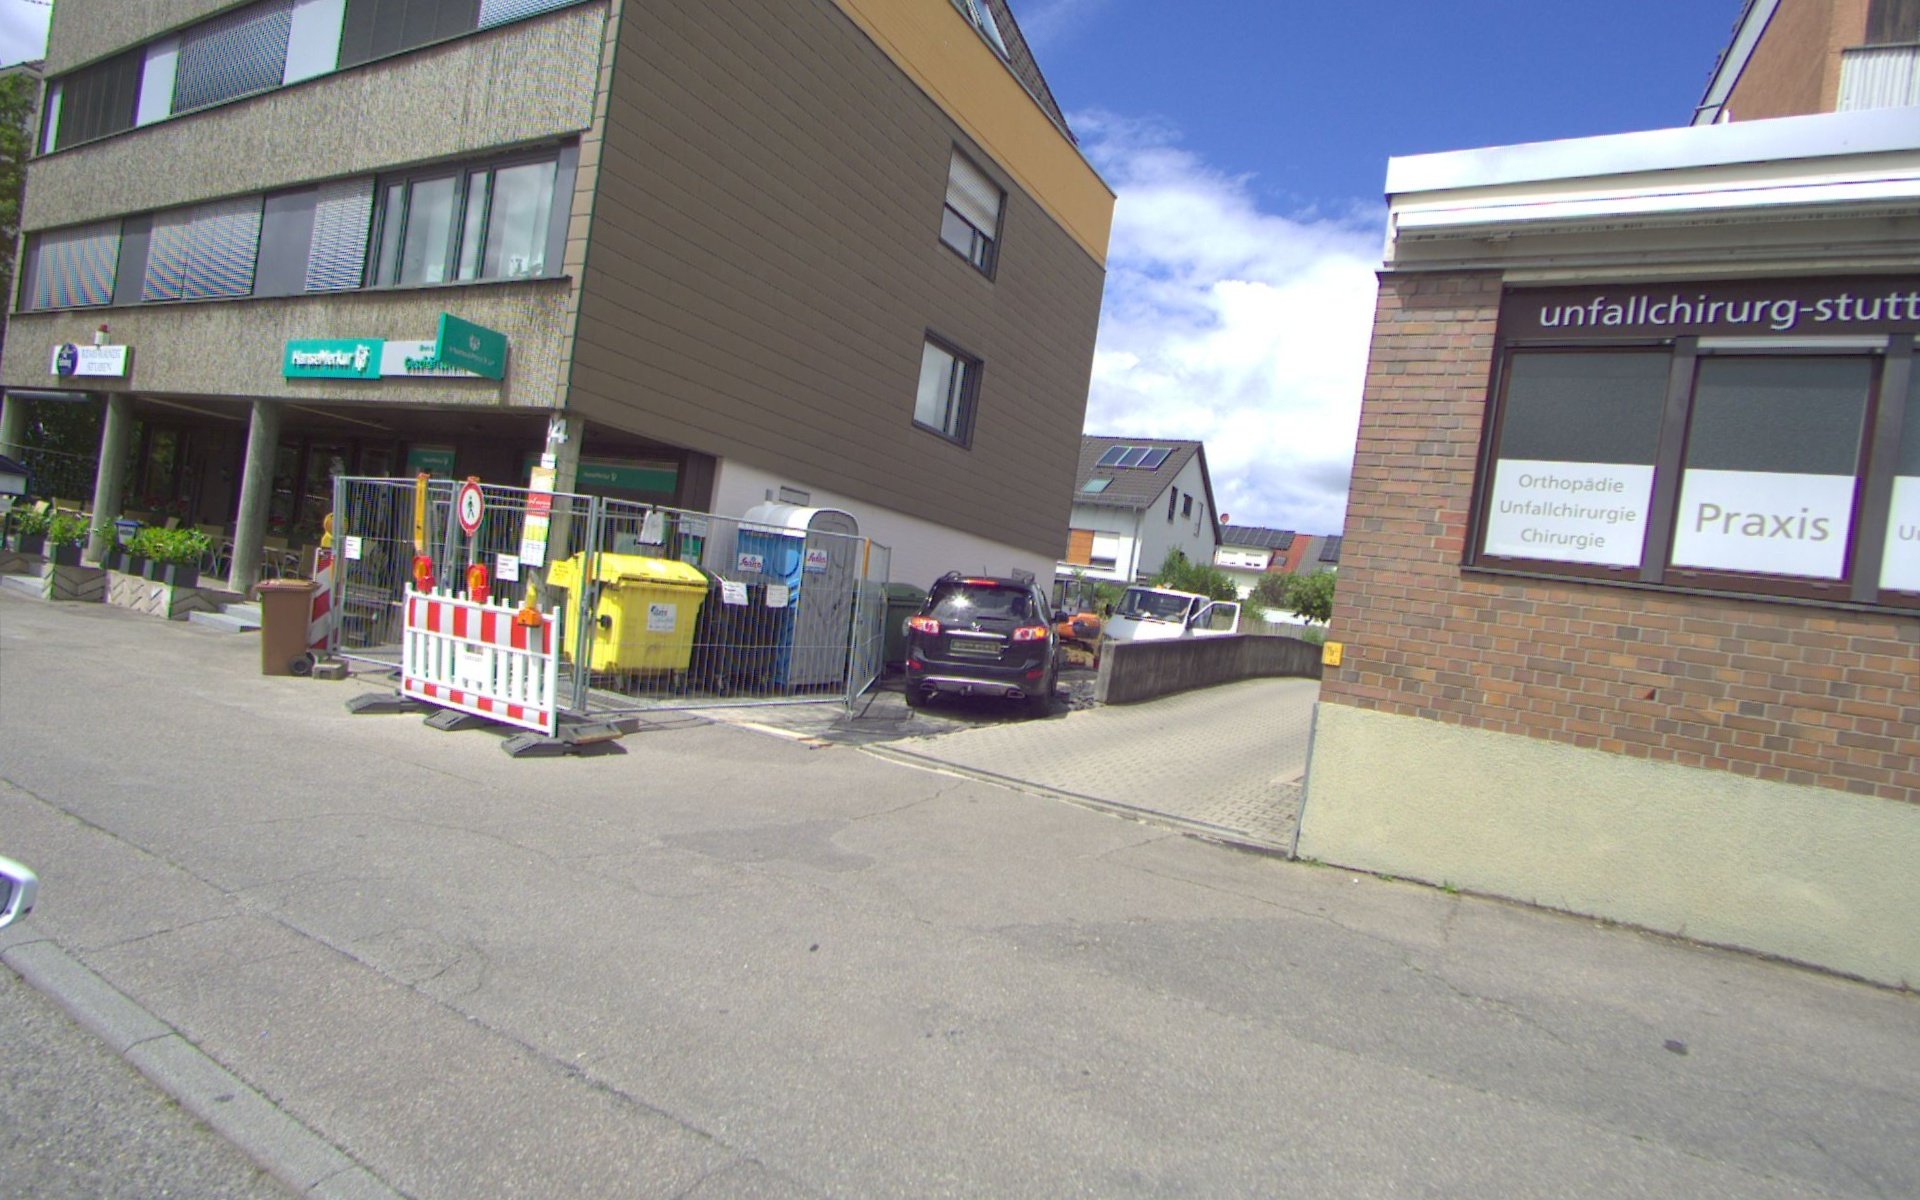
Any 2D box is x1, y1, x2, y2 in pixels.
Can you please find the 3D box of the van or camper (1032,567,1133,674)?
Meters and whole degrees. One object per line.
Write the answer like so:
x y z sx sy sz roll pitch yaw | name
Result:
4.291 0.782 34.107 2.504 3.034 6.464 6 -1 13 | van or camper

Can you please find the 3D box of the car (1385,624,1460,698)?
15.167 2.028 33.168 1.910 2.070 4.204 7 -1 23 | car

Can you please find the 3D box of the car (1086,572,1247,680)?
5.032 0.694 23.972 2.031 2.070 4.744 7 -1 33 | car

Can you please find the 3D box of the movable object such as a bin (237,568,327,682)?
-6.738 0.242 10.033 0.598 1.039 0.673 7 0 -30 | movable object such as a bin

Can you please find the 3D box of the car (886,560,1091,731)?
0.546 0.511 13.654 1.881 1.802 3.774 6 2 13 | car

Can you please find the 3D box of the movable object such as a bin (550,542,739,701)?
-3.449 0.259 11.083 1.058 1.510 1.484 9 1 34 | movable object such as a bin

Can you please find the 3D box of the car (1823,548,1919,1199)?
3.523 0.946 0.426 4.416 1.817 1.912 6 1 32 | car

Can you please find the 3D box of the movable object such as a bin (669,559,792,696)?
-2.750 0.337 12.059 1.001 1.458 0.780 9 1 34 | movable object such as a bin
